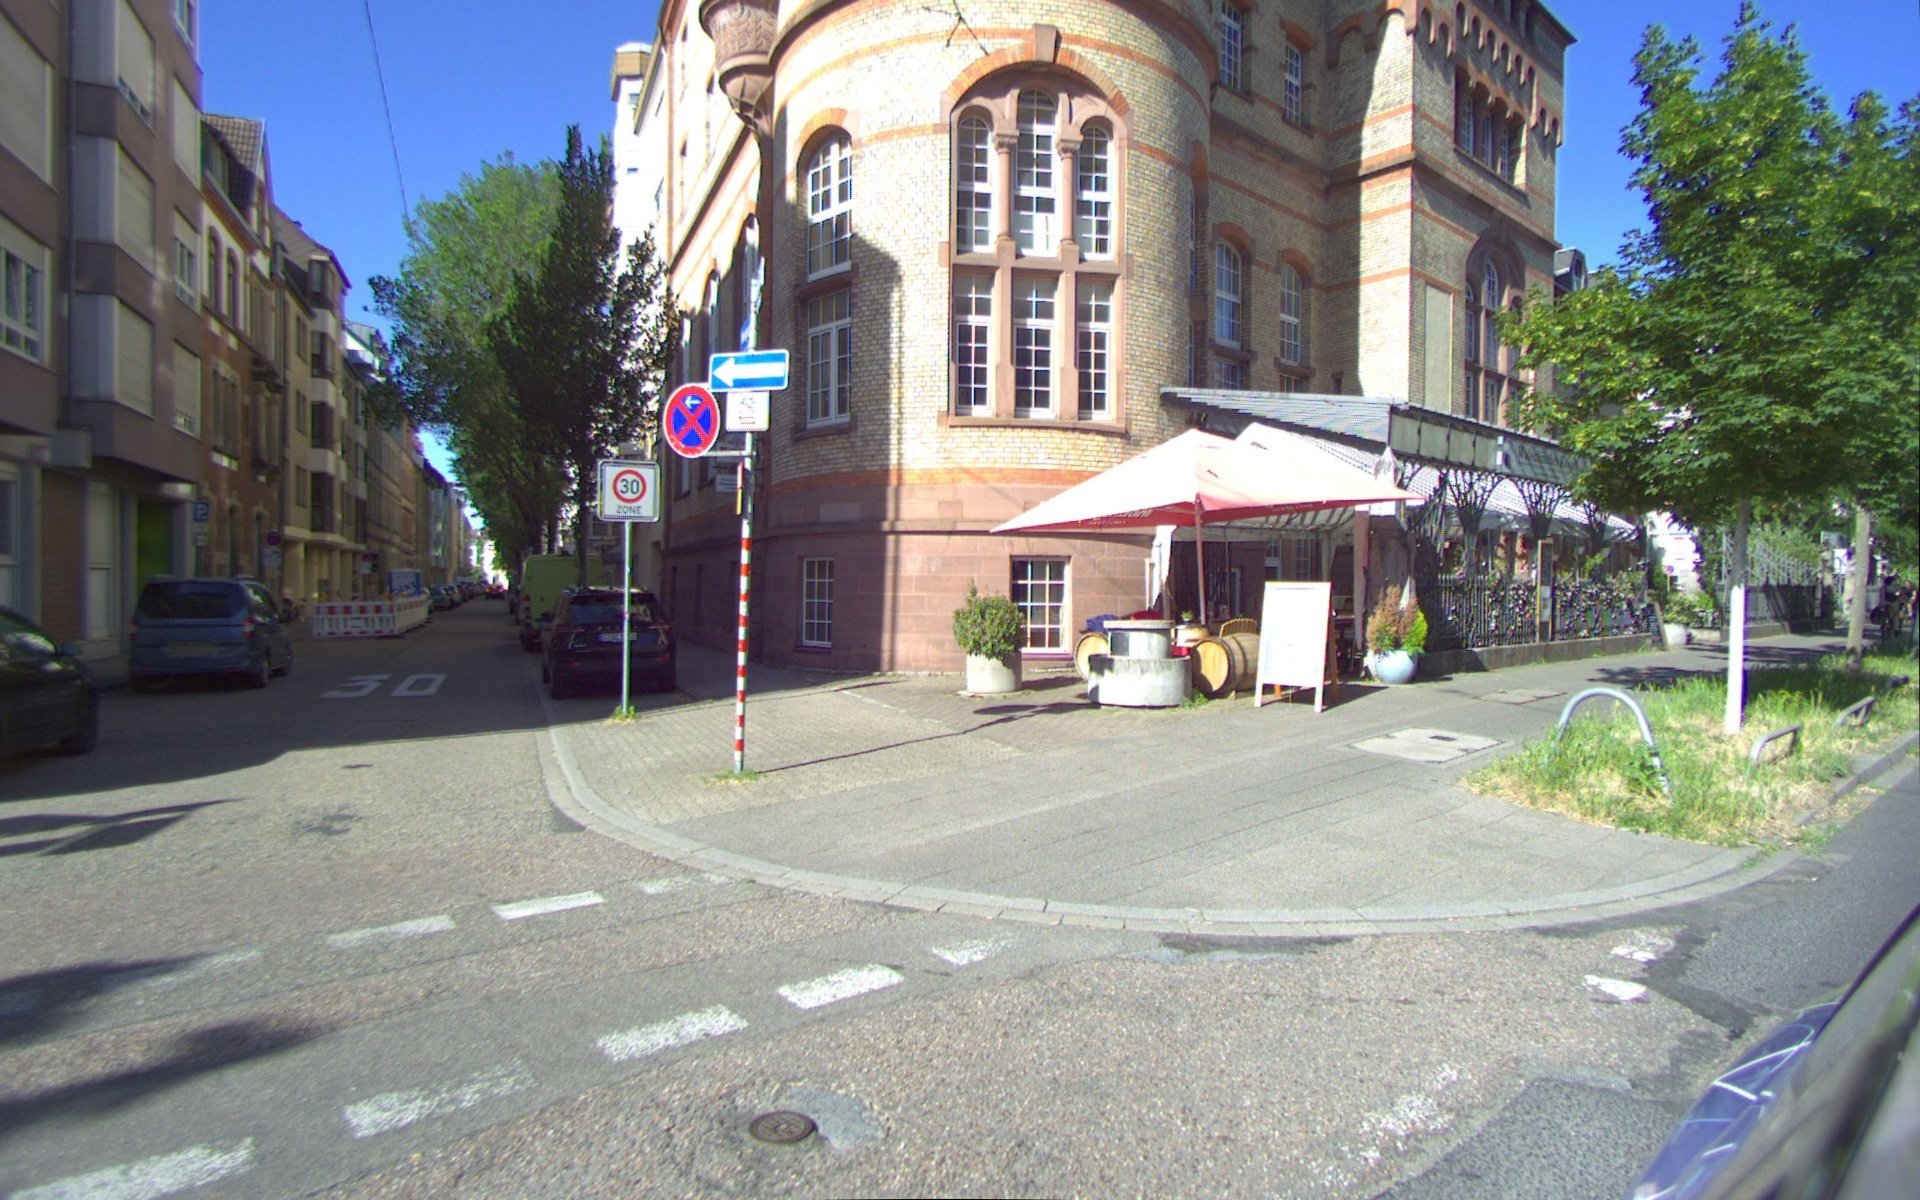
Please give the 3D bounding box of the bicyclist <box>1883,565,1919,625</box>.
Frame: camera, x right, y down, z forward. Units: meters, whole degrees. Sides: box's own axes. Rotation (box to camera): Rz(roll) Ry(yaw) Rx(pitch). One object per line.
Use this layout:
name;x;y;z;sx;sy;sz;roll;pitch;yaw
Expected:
bicyclist;26.176;-0.145;28.122;0.939;1.619;0.701;-2;1;-42

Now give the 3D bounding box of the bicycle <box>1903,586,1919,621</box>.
bicycle;34.791;0.125;36.640;1.810;1.190;0.654;0;4;-40

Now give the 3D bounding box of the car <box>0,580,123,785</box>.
car;-8.575;0.652;8.245;1.824;1.542;3.963;-2;1;-27

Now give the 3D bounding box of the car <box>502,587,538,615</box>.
car;-24.634;0.076;56.621;1.620;1.476;3.901;-1;-1;-27

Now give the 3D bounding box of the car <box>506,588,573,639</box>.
car;-13.148;0.440;31.523;1.620;1.476;3.901;-1;-1;-27

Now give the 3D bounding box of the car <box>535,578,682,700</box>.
car;-5.568;0.477;15.744;1.759;1.541;3.965;-3;2;-24

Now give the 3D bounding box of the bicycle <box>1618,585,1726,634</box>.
bicycle;18.249;0.212;25.983;2.196;1.193;0.676;1;2;44

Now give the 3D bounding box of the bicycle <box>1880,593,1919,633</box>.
bicycle;26.283;0.347;28.236;2.060;1.040;0.686;-2;2;-42

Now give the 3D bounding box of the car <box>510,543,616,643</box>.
car;-10.385;-0.179;26.238;2.093;2.331;4.813;-1;0;-27

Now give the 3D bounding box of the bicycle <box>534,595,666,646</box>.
bicycle;-8.237;0.454;23.162;2.714;1.040;1.061;-2;0;-26

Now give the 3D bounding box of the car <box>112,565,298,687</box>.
car;-12.090;0.354;16.475;1.758;1.728;3.963;-1;0;-27

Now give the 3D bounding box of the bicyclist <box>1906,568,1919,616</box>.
bicyclist;34.766;-0.270;36.588;0.873;1.716;0.647;0;3;-40
